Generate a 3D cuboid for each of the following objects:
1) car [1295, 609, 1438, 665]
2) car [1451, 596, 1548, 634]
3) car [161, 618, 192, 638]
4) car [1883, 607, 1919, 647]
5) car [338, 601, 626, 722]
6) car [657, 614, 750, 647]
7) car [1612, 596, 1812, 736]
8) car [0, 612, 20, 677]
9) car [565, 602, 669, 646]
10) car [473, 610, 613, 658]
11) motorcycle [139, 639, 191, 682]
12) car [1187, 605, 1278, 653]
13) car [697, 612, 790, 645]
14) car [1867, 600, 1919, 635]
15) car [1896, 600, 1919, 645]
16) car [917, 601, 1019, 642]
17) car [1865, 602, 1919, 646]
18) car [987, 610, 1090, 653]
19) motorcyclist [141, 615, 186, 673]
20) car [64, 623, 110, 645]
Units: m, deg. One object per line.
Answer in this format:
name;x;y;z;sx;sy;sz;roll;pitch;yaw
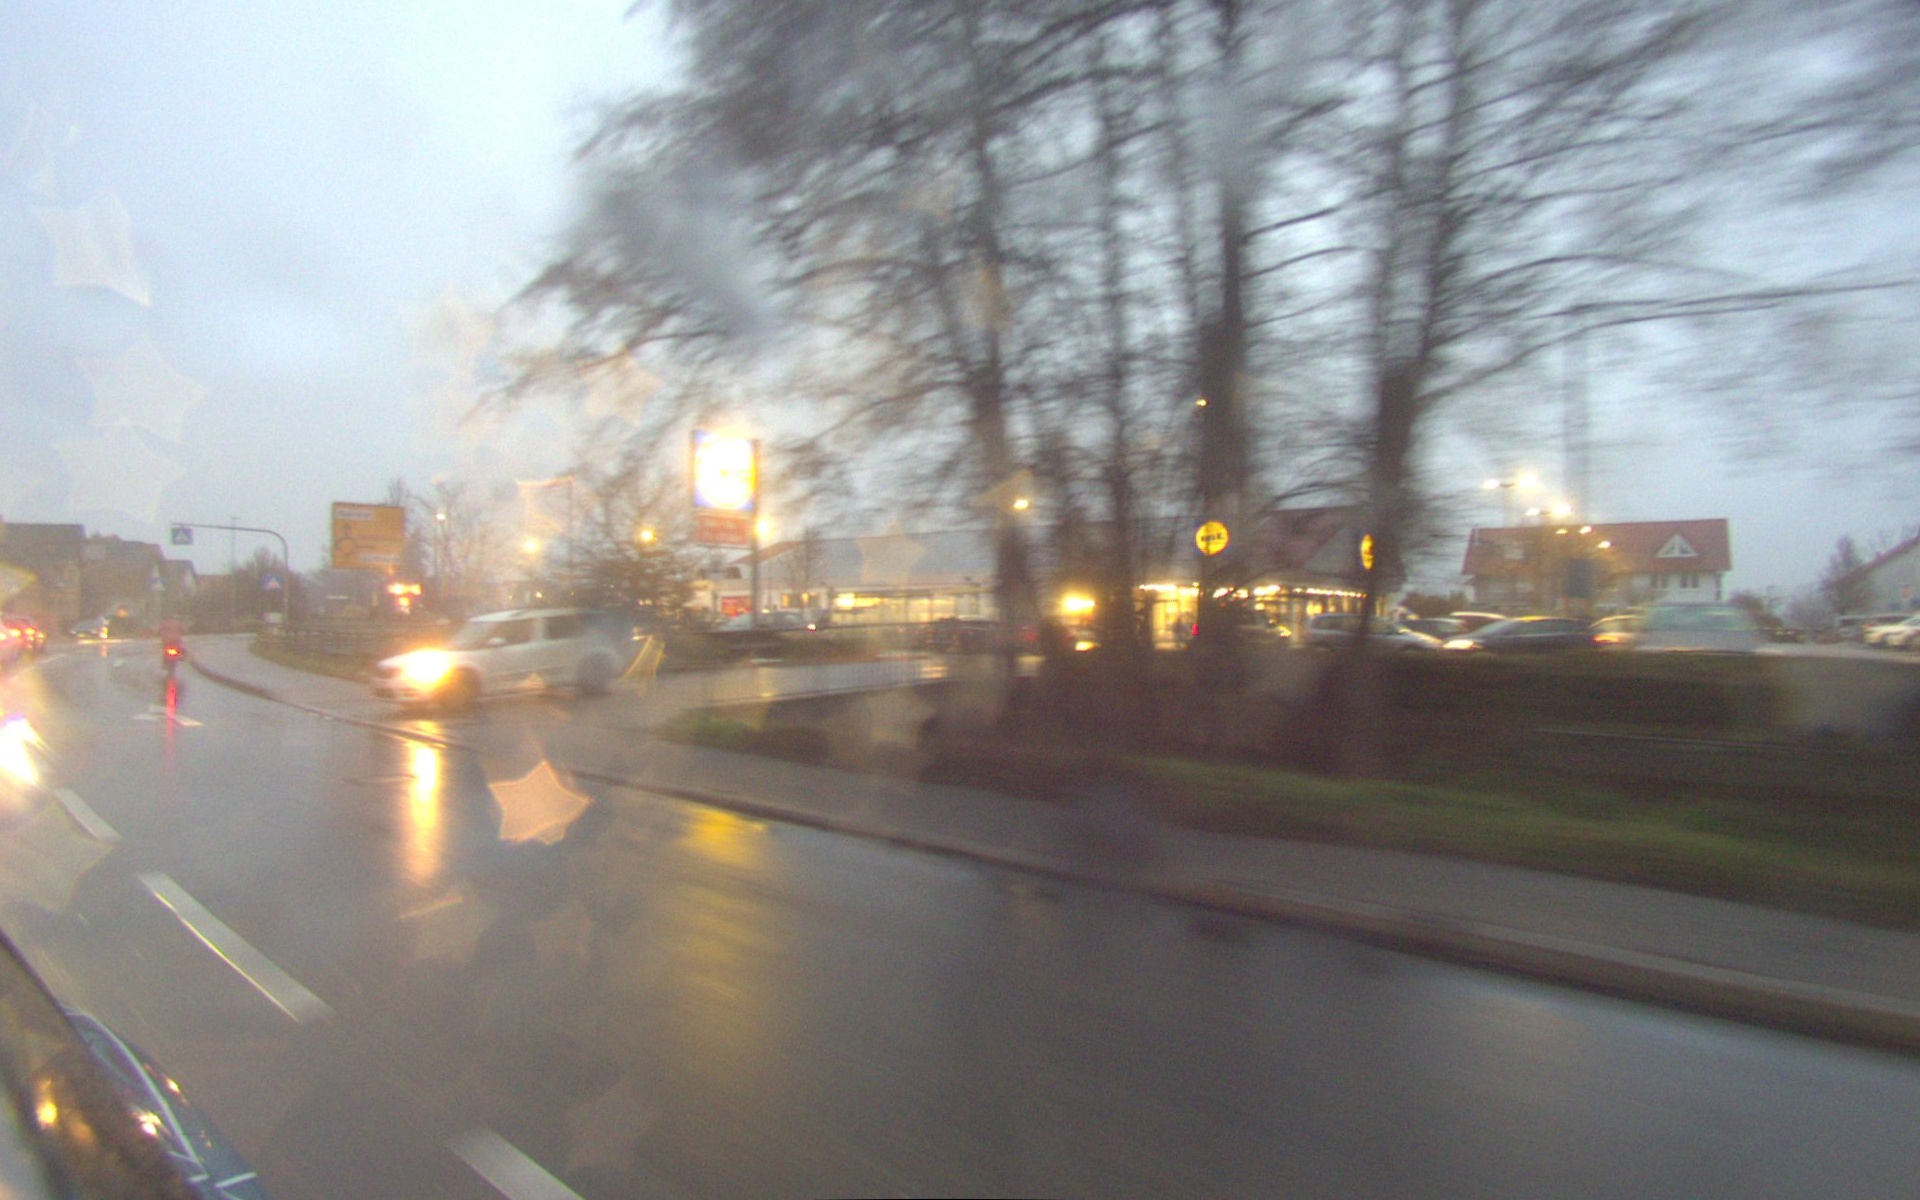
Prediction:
car;13.121;1.193;32.715;3.987;1.629;1.898;-3;-1;32
car;26.366;0.738;49.486;3.987;1.629;1.898;-3;-1;32
car;-76.622;2.728;98.979;1.916;1.819;4.185;0;-1;-31
car;43.634;1.163;44.374;4.513;1.652;1.913;-3;1;39
car;-8.316;0.971;17.944;1.897;1.712;4.187;-1;2;38
car;-13.044;1.582;51.702;2.051;1.575;4.392;-2;-3;35
car;12.720;1.001;17.457;2.119;1.992;4.614;-3;0;30
car;-27.742;1.229;28.447;1.749;1.736;4.428;0;-1;-41
car;-18.903;1.403;56.037;2.213;2.300;5.140;-2;-3;35
car;-16.040;1.263;39.174;2.028;1.725;4.730;-1;-1;34
motorcycle;-21.396;1.596;27.213;0.855;1.031;2.111;0;0;-45
car;10.246;1.080;37.851;1.964;1.684;4.370;-2;-2;34
car;-10.751;1.466;50.540;2.051;1.575;4.392;-2;-3;35
car;48.398;0.838;50.455;4.510;1.652;1.914;-3;1;37
car;38.922;0.812;38.594;4.513;1.652;1.913;-3;1;39
car;0.385;0.937;41.514;2.051;1.575;4.392;-2;-3;35
car;46.808;1.107;48.662;4.653;1.992;2.102;-3;0;37
car;3.097;1.261;39.138;2.051;1.575;4.392;-2;-3;35
motorcyclist;-21.475;1.165;27.292;0.855;1.496;0.909;0;0;-44
car;-60.474;2.343;70.136;1.747;1.441;3.808;-1;-1;-30
